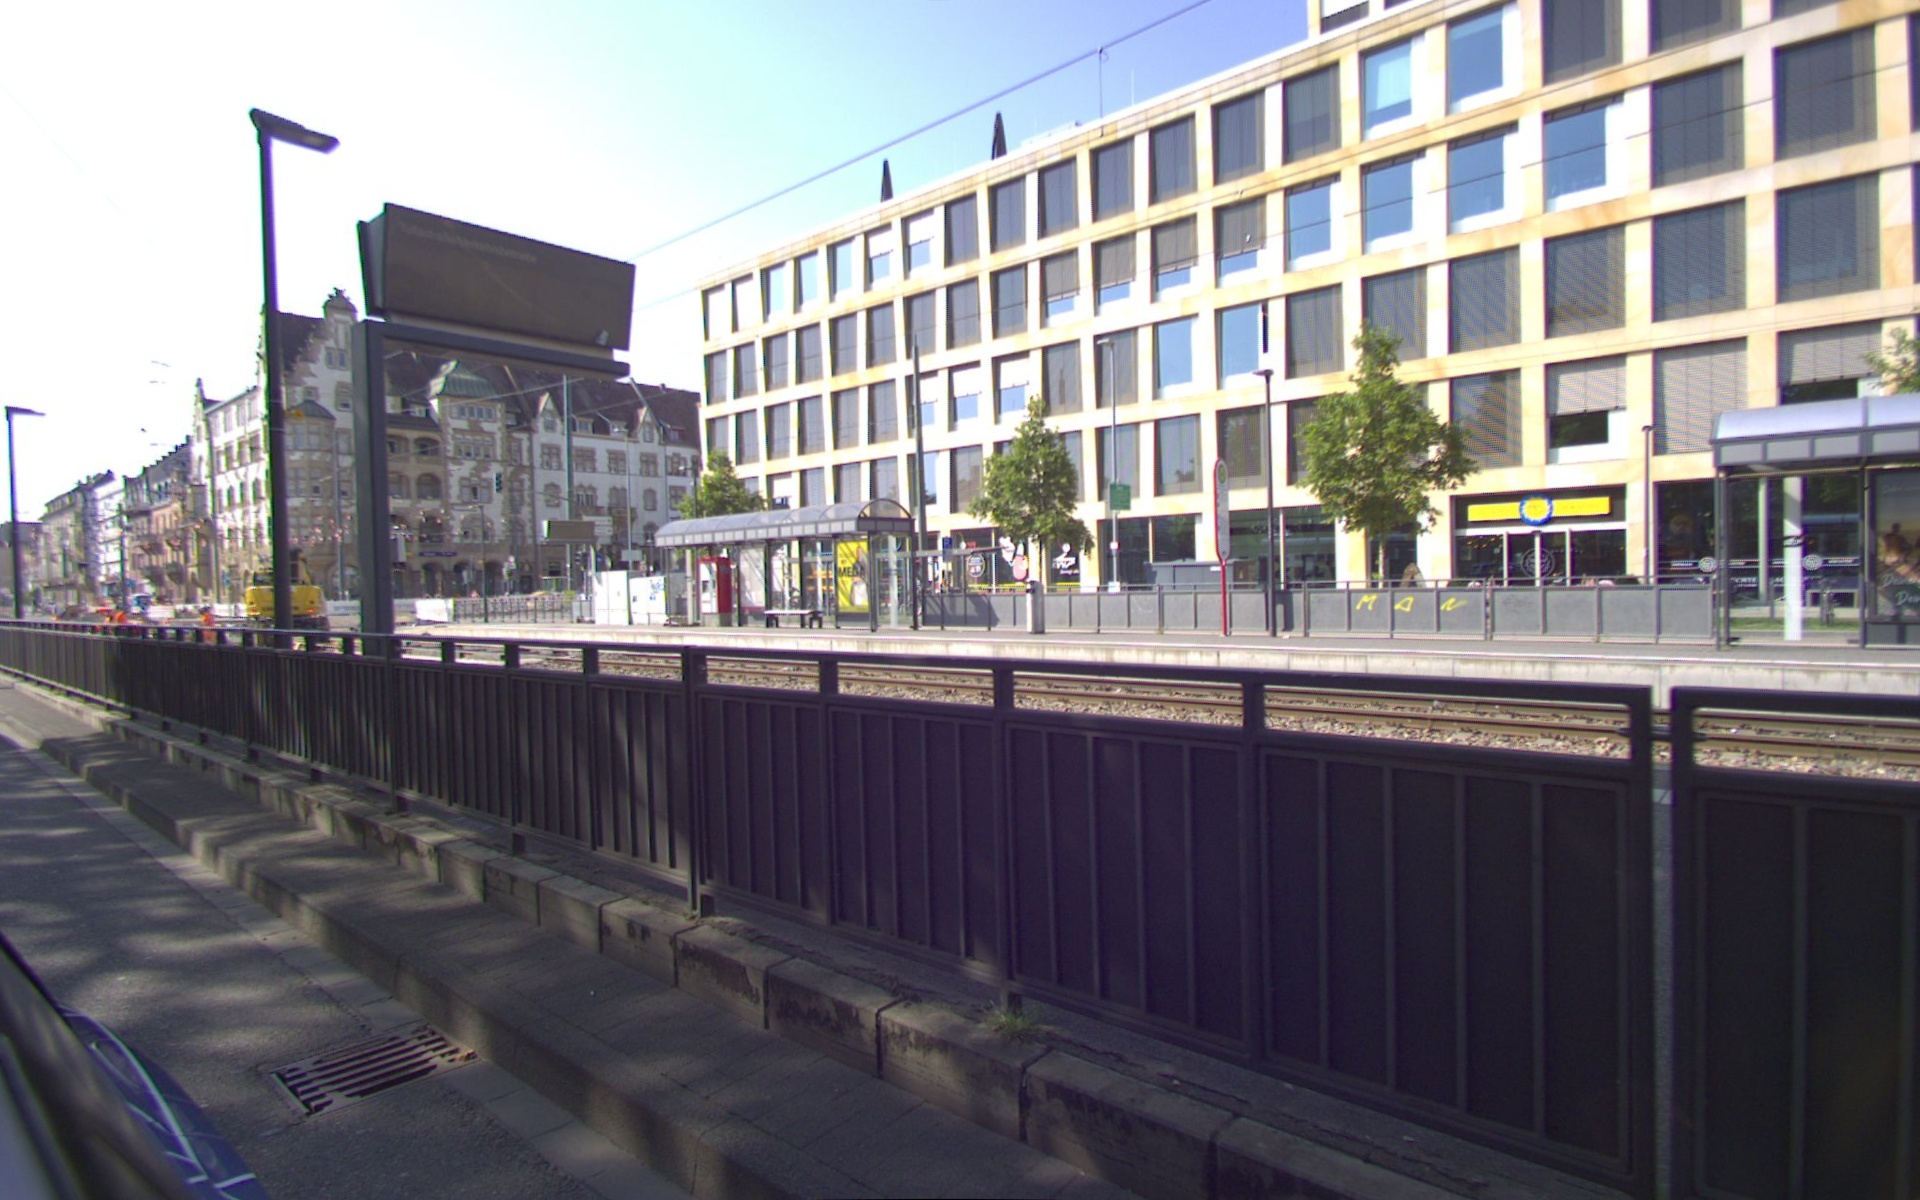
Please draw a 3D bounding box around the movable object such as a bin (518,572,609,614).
[{"bbox_3d":[-27.518,-0.497,70.404,2.134,2.760,5.555,-1,1,41],"label":"movable object such as a bin"}]

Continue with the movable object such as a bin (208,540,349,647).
[{"bbox_3d":[-28.703,-0.245,43.111,3.454,4.043,9.071,-2,0,-25],"label":"movable object such as a bin"}]

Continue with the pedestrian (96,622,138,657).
[{"bbox_3d":[-30.659,1.421,36.825,0.968,1.199,0.801,-2,0,-25],"label":"pedestrian"}]

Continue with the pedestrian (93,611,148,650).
[{"bbox_3d":[-29.696,1.078,35.824,1.293,1.316,0.801,-2,0,-25],"label":"pedestrian"}]

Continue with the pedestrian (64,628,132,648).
[{"bbox_3d":[-32.412,1.408,38.054,0.913,0.641,1.880,-1,1,45],"label":"pedestrian"}]

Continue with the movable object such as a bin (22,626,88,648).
[{"bbox_3d":[-29.849,1.209,33.401,1.484,0.657,0.704,-2,0,-28],"label":"movable object such as a bin"}]

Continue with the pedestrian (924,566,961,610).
[{"bbox_3d":[-0.726,-0.499,41.702,1.123,1.765,0.966,-1,1,41],"label":"pedestrian"}]

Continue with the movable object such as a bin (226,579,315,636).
[{"bbox_3d":[-43.420,0.455,63.595,8.346,3.355,2.815,-1,1,43],"label":"movable object such as a bin"}]

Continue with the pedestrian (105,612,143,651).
[{"bbox_3d":[-29.009,1.077,35.128,0.825,1.316,0.801,-2,0,-25],"label":"pedestrian"}]

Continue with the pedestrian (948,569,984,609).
[{"bbox_3d":[0.256,-0.465,42.292,1.123,1.609,0.966,-1,1,41],"label":"pedestrian"}]

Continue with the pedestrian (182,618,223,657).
[{"bbox_3d":[-27.080,1.329,36.182,0.983,1.316,1.003,-2,0,45],"label":"pedestrian"}]
